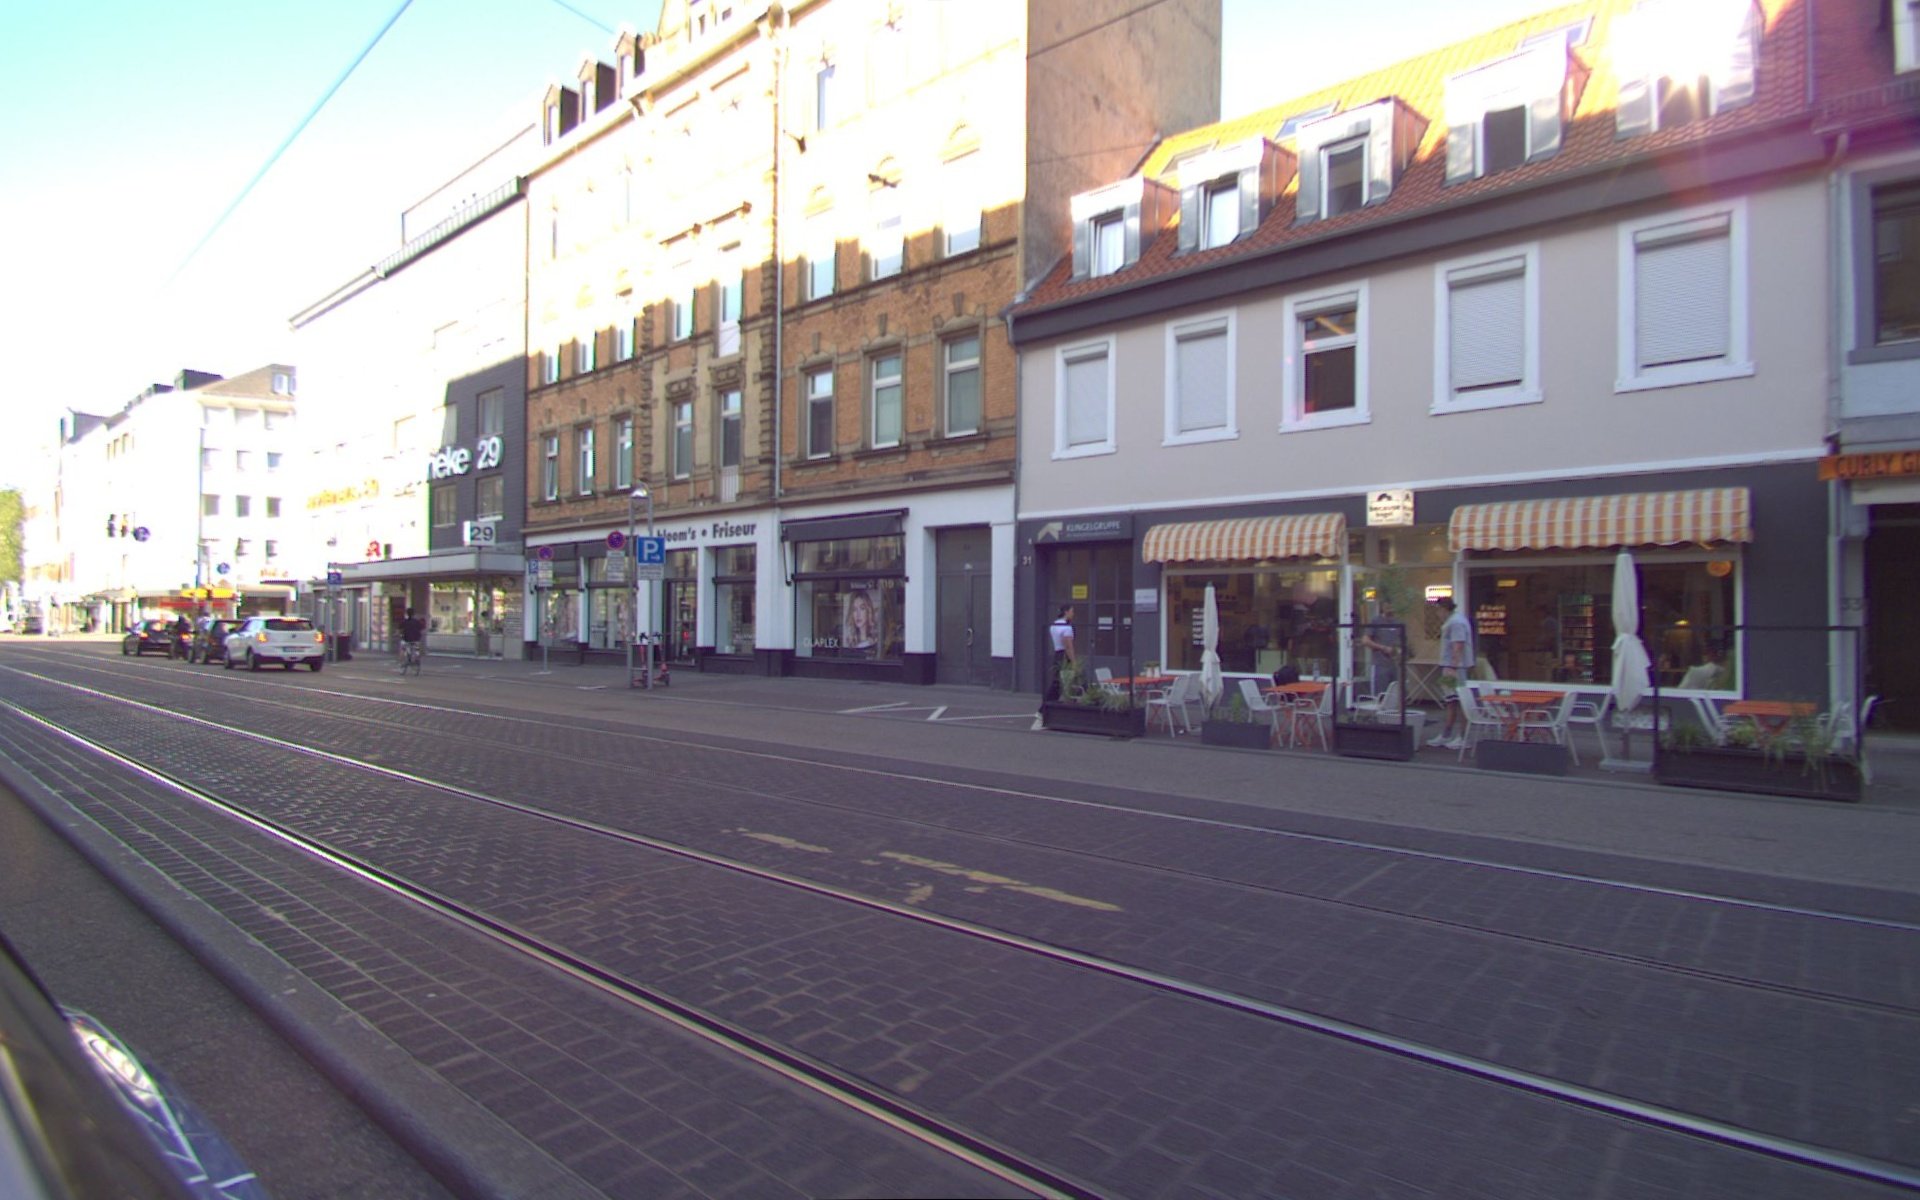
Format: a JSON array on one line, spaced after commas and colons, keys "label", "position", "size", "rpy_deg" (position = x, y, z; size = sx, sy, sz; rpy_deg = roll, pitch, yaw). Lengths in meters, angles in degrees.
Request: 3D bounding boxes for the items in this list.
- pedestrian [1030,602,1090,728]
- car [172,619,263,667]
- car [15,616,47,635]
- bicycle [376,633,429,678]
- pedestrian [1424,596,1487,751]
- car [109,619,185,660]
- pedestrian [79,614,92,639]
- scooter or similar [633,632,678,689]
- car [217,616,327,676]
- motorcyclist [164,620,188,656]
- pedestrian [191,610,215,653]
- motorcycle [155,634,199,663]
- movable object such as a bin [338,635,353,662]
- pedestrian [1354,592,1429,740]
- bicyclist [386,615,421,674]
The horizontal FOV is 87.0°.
[{"label": "pedestrian", "position": [1.485, 0.940, 15.073], "size": [0.572, 1.819, 0.660], "rpy_deg": [-1, 0, -37]}, {"label": "car", "position": [-25.492, 1.453, 34.685], "size": [3.998, 1.542, 1.645], "rpy_deg": [-1, -3, 41]}, {"label": "car", "position": [-80.120, 2.176, 87.275], "size": [3.462, 1.544, 1.609], "rpy_deg": [-1, -4, 41]}, {"label": "bicycle", "position": [-15.320, 1.506, 27.777], "size": [2.099, 1.157, 0.602], "rpy_deg": [-1, 0, 41]}, {"label": "pedestrian", "position": [5.898, 0.841, 12.033], "size": [0.580, 1.775, 0.651], "rpy_deg": [-1, 0, 33]}, {"label": "car", "position": [-32.614, 1.561, 40.557], "size": [3.998, 1.542, 1.645], "rpy_deg": [-1, -3, 41]}, {"label": "pedestrian", "position": [-70.012, 2.093, 81.013], "size": [0.620, 1.965, 0.661], "rpy_deg": [-1, 0, 41]}, {"label": "scooter or similar", "position": [-6.931, 1.369, 23.004], "size": [1.201, 1.232, 0.399], "rpy_deg": [-1, 0, 41]}, {"label": "car", "position": [-20.238, 1.308, 29.735], "size": [3.674, 1.647, 1.779], "rpy_deg": [-1, -2, 41]}, {"label": "motorcyclist", "position": [-28.900, 1.401, 37.314], "size": [0.655, 1.313, 0.533], "rpy_deg": [-1, -3, 41]}, {"label": "pedestrian", "position": [-32.934, 1.356, 44.052], "size": [0.635, 1.855, 0.696], "rpy_deg": [-1, 0, 41]}, {"label": "motorcycle", "position": [-28.844, 1.780, 37.254], "size": [1.934, 1.000, 0.895], "rpy_deg": [-1, -3, 41]}, {"label": "movable object such as a bin", "position": [-22.704, 1.790, 37.385], "size": [0.467, 0.955, 0.321], "rpy_deg": [-1, -2, 41]}, {"label": "pedestrian", "position": [5.585, 0.830, 13.107], "size": [0.647, 1.863, 0.583], "rpy_deg": [-1, 0, -19]}, {"label": "bicyclist", "position": [-15.272, 1.209, 27.761], "size": [0.861, 1.558, 0.569], "rpy_deg": [-1, 0, 41]}]
